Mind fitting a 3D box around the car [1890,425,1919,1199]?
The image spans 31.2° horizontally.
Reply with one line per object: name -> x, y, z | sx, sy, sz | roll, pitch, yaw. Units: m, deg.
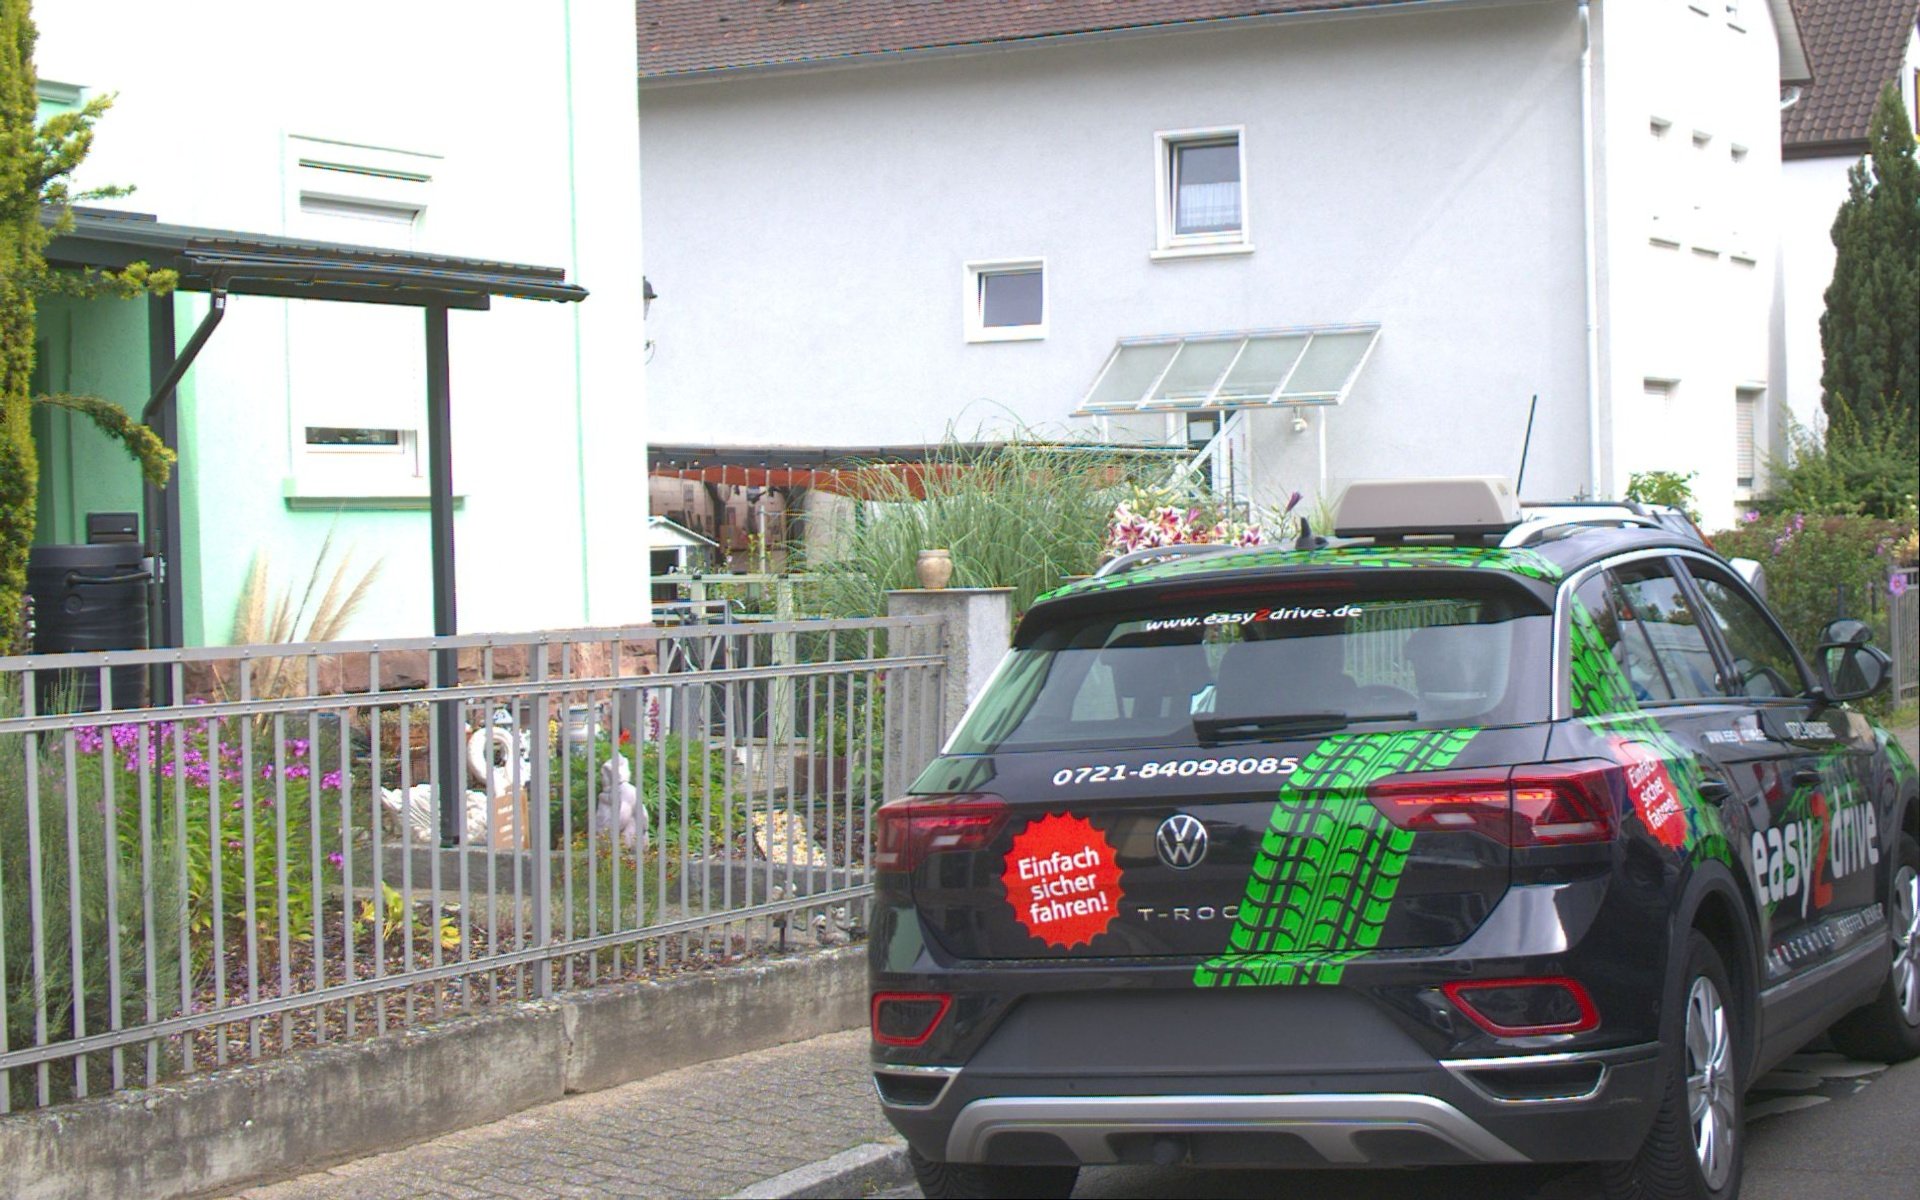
car -> 3.074, 0.538, 6.244 | 1.996, 1.721, 4.336 | -1, 1, 24

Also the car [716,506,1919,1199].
car -> 1.216, 0.581, 8.444 | 1.818, 1.515, 4.038 | -2, 0, 25

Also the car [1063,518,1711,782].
car -> 2.598, 0.304, 20.886 | 3.575, 1.495, 1.586 | -1, 1, 23

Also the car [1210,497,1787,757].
car -> 3.680, 0.191, 23.468 | 3.575, 1.662, 1.586 | -1, 1, 23
